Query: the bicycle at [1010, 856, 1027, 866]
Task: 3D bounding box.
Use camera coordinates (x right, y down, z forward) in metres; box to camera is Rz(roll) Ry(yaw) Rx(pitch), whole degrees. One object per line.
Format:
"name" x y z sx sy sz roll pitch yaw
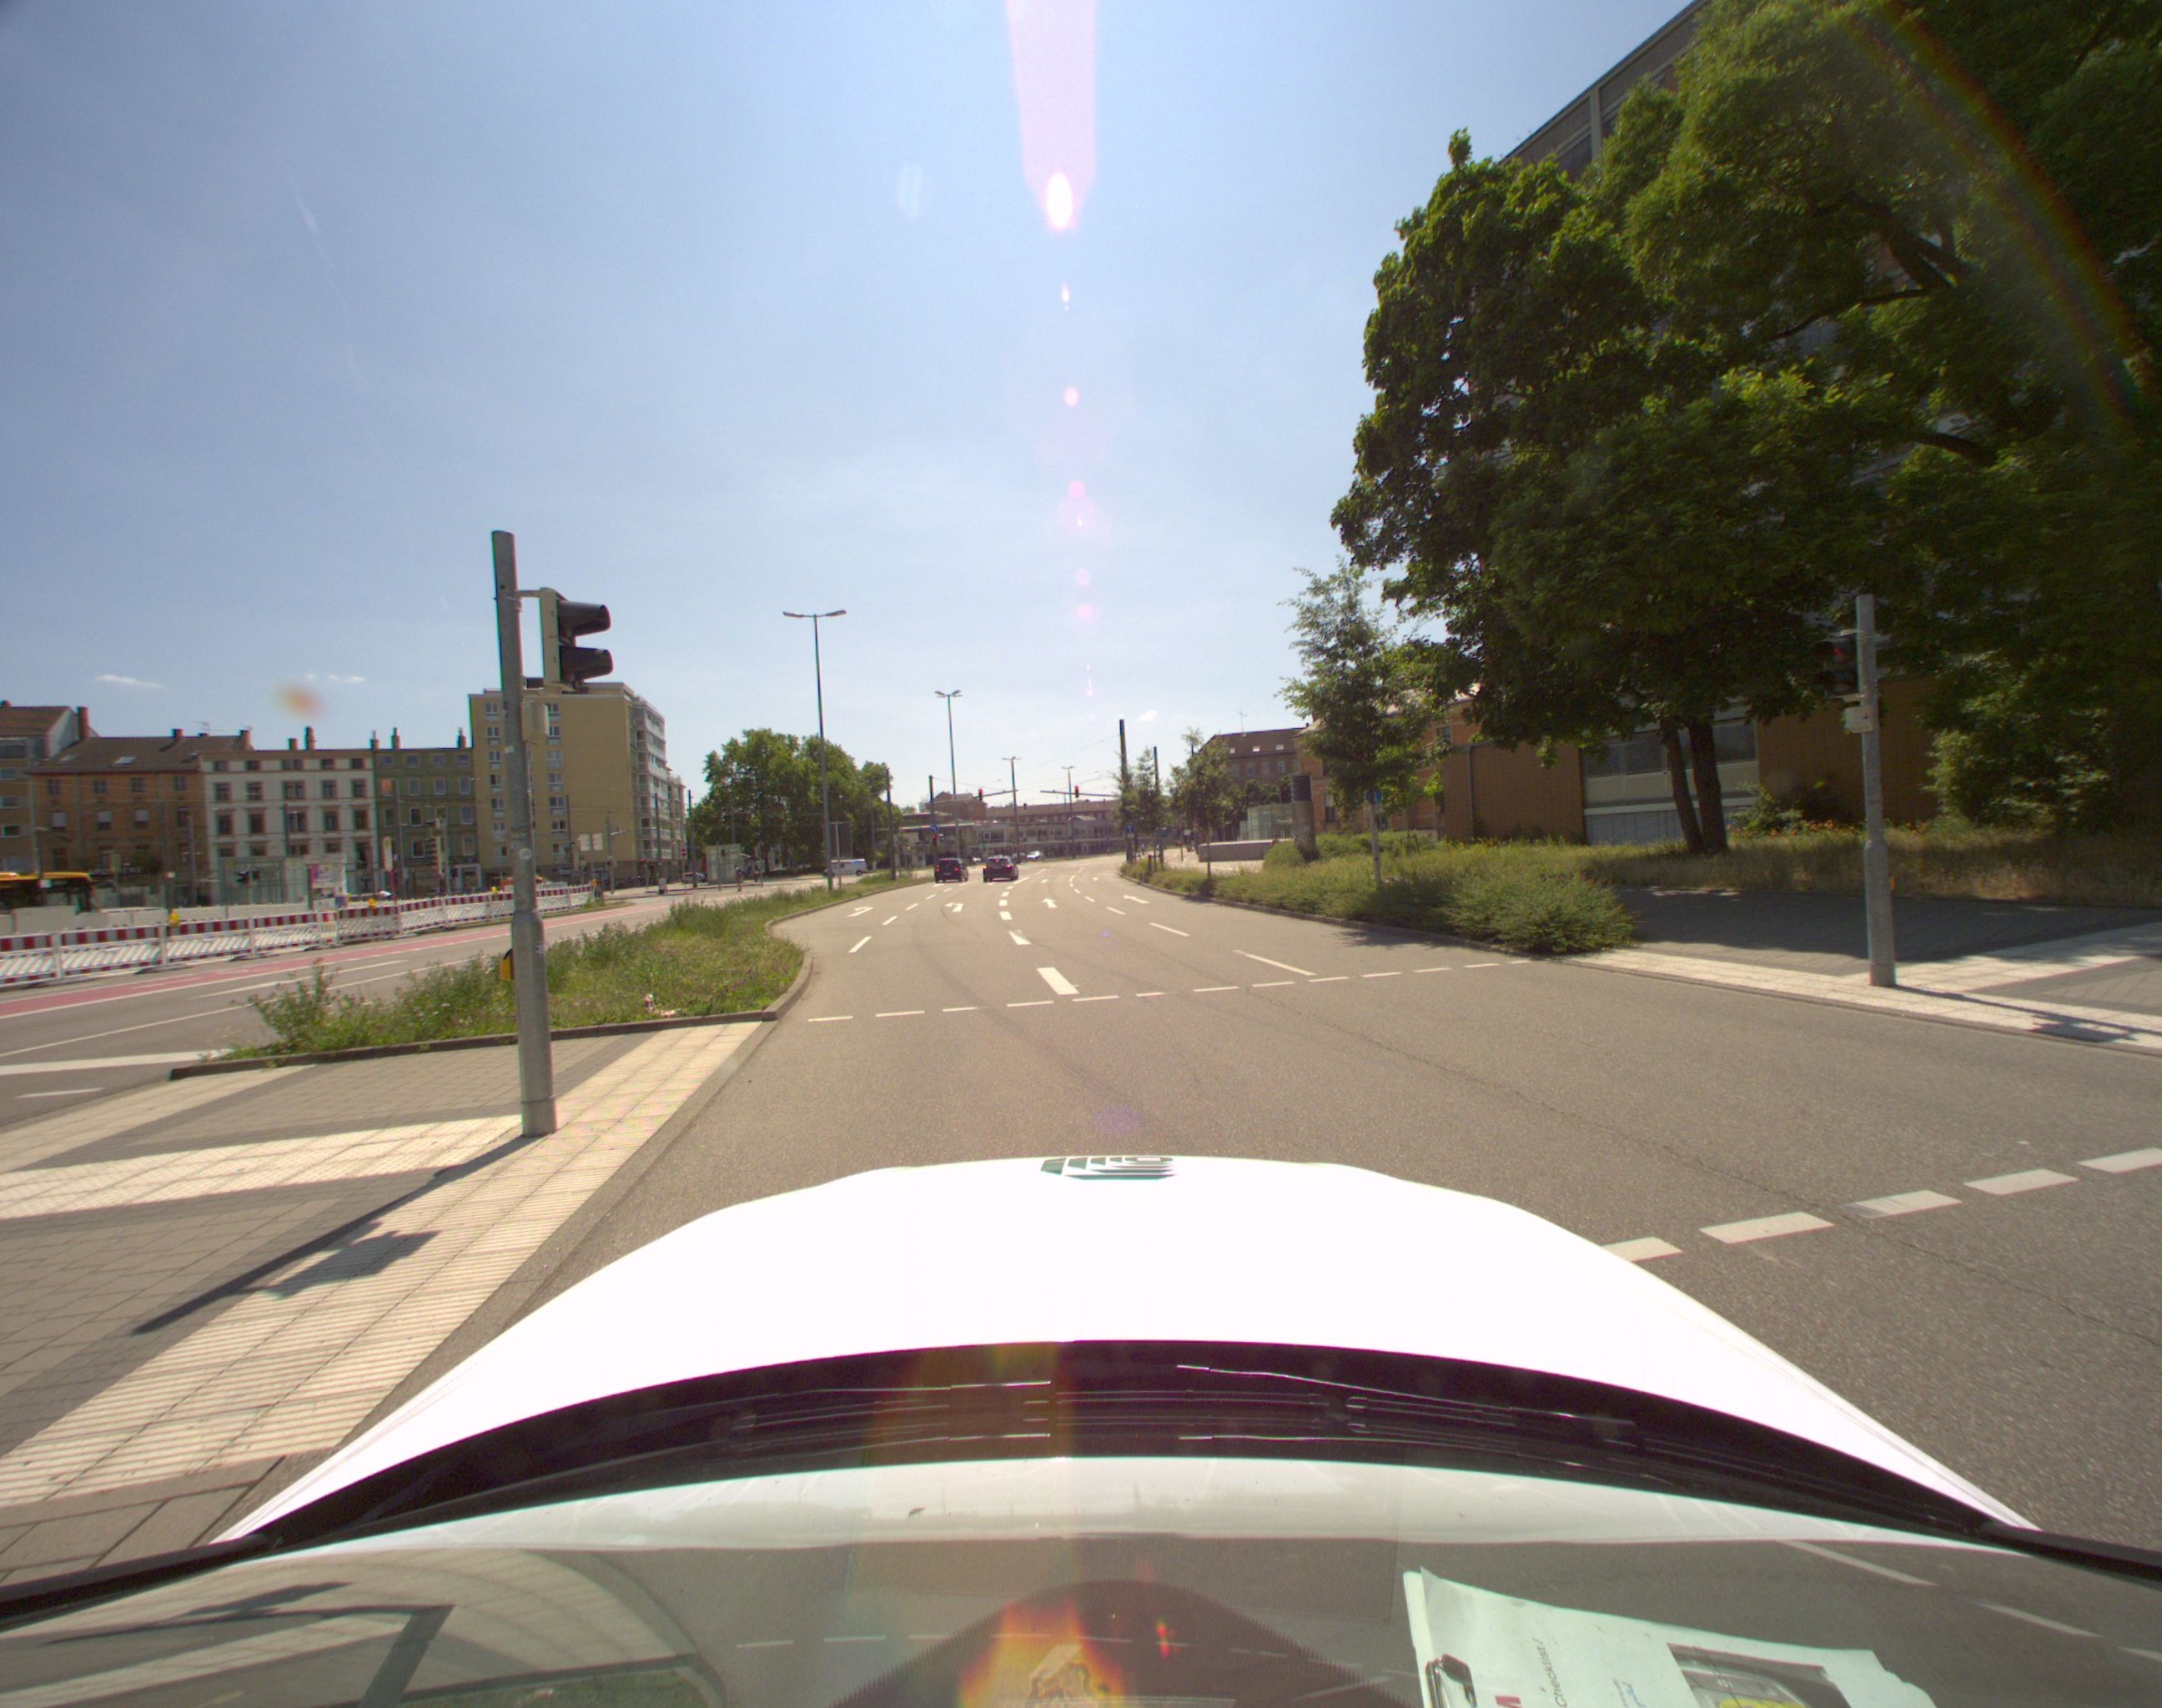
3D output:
"bicycle" -8.190 0.891 106.910 2.166 1.107 0.454 -3 2 -18

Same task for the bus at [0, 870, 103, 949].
"bus" -46.348 2.463 30.146 3.692 3.041 12.328 -3 0 27

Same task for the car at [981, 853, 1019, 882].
"car" -4.899 0.798 49.832 1.711 1.556 4.586 -3 0 0

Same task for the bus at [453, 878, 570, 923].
"bus" -23.309 1.848 33.614 1.242 1.249 5.808 -3 2 -6

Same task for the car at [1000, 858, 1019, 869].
"car" -10.434 1.358 119.097 1.526 1.277 3.556 -2 2 18

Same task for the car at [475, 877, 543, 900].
"car" -51.128 3.062 72.883 4.631 1.613 1.668 -3 2 -15

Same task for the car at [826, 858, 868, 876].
"car" -25.904 1.458 90.004 4.321 1.626 1.803 -3 2 -20

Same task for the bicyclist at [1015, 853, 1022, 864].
"bicyclist" -8.179 0.591 106.917 0.734 1.479 0.652 -3 2 -18

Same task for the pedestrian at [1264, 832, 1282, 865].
"pedestrian" 10.220 -0.310 43.377 0.729 1.705 0.811 -3 1 2

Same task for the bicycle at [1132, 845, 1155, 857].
"bicycle" 8.099 -0.374 105.075 2.818 1.463 0.633 -3 2 -2

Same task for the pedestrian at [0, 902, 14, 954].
"pedestrian" -41.863 2.872 31.435 0.603 1.995 0.668 -1 3 40

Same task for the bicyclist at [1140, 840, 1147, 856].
"bicyclist" 8.074 -0.755 105.057 0.761 1.937 0.660 -3 2 -1

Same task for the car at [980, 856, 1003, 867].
"car" -12.487 1.032 114.183 1.607 1.390 4.143 -3 0 17

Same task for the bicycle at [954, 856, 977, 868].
"bicycle" -14.423 1.021 102.058 2.772 1.385 0.669 -3 2 -7

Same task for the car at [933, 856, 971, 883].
"car" -8.022 0.935 50.852 1.616 1.463 4.000 -3 0 1

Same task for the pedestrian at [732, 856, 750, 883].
"pedestrian" -37.851 1.715 90.671 1.211 2.937 1.335 -3 2 -3

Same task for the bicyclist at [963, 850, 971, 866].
"bicyclist" -14.254 0.532 102.075 0.845 1.965 0.625 -3 2 -7

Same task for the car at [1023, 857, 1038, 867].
"car" -7.966 1.296 128.076 1.421 1.285 3.274 -2 2 13

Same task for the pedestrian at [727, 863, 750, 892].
"pedestrian" -24.285 1.639 57.795 1.178 1.933 0.901 -3 2 -6
